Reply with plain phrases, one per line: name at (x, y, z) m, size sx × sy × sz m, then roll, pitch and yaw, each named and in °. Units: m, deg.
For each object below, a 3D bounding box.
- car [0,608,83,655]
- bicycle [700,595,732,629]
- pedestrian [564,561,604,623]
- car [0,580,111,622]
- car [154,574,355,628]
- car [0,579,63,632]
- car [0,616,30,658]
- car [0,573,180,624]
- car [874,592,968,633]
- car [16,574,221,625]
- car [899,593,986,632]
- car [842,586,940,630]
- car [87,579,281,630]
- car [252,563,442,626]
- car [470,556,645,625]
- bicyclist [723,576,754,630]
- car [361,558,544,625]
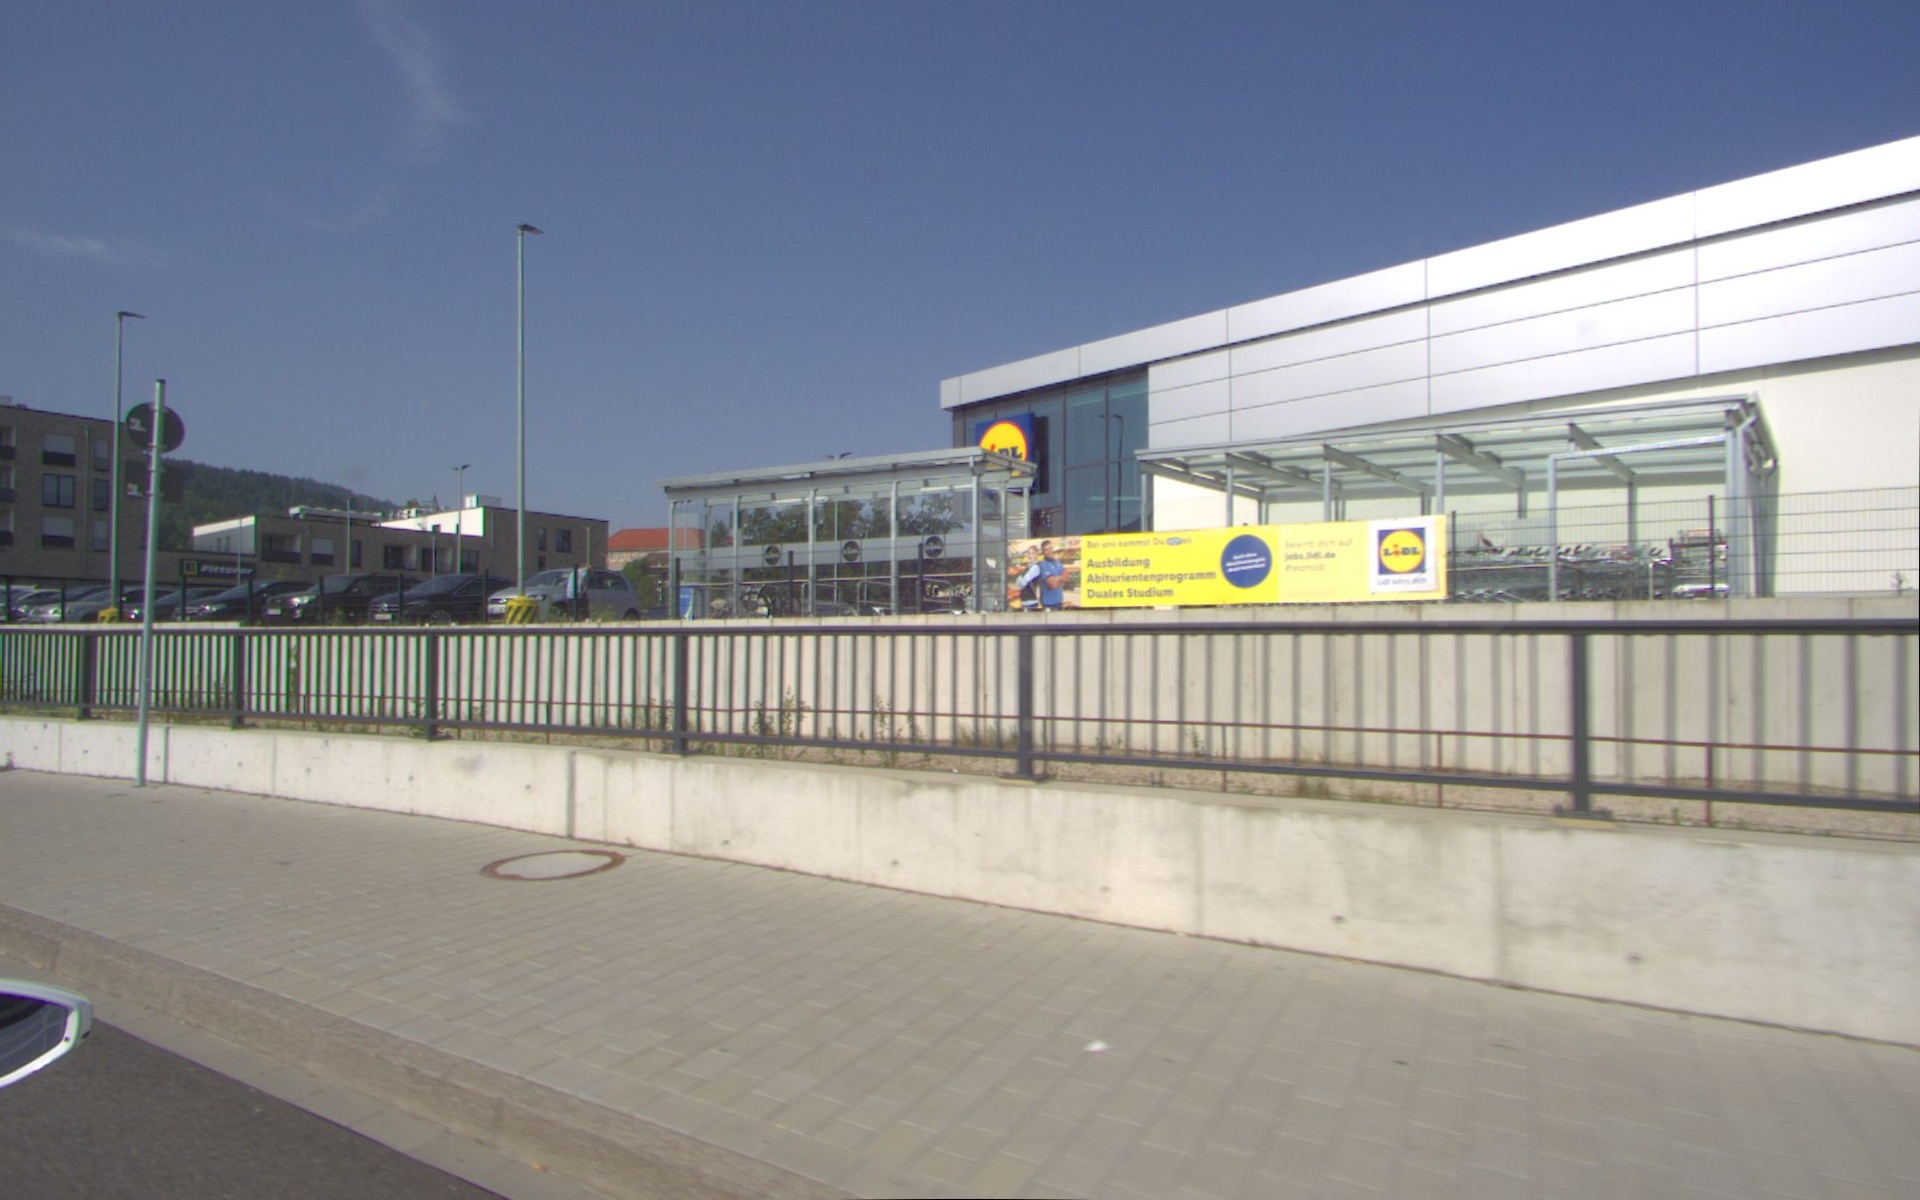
car at (-31.732, 1.043, 32.890) m, size 1.688 × 1.505 × 4.060 m, roll 0°, pitch -3°, yaw 24°
bicycle at (-6.728, 0.345, 27.631) m, size 0.666 × 0.911 × 0.534 m, roll -1°, pitch -2°, yaw 16°
pedestrian at (-8.403, -0.169, 22.381) m, size 0.646 × 1.328 × 0.547 m, roll -1°, pitch -2°, yaw 24°
car at (-29.367, 0.051, 31.579) m, size 1.685 × 1.214 × 3.561 m, roll 0°, pitch -3°, yaw 22°
car at (-18.982, 0.075, 27.172) m, size 1.714 × 1.261 × 4.220 m, roll 0°, pitch -3°, yaw 21°
car at (-40.711, 0.250, 42.343) m, size 1.979 × 2.163 × 3.966 m, roll -2°, pitch -3°, yaw 42°
car at (-34.152, 1.220, 33.858) m, size 1.681 × 1.448 × 3.561 m, roll 0°, pitch -3°, yaw 22°
car at (-26.513, 0.001, 30.520) m, size 1.632 × 1.359 × 4.042 m, roll 0°, pitch -3°, yaw 22°
car at (-1.667, 0.561, 42.792) m, size 3.646 × 1.605 × 1.619 m, roll -2°, pitch -2°, yaw 24°
car at (-24.281, 0.032, 29.102) m, size 1.635 × 1.261 × 4.285 m, roll 0°, pitch -3°, yaw 21°
car at (-0.774, 0.603, 45.056) m, size 3.568 × 1.651 × 1.598 m, roll -2°, pitch -2°, yaw 24°
car at (-2.799, 0.352, 40.491) m, size 3.646 × 1.673 × 1.619 m, roll -2°, pitch -2°, yaw 24°
car at (-21.478, 0.172, 27.913) m, size 1.700 × 1.261 × 3.973 m, roll 0°, pitch -3°, yaw 21°
car at (-15.843, -0.089, 26.111) m, size 1.695 × 1.422 × 4.011 m, roll 0°, pitch -3°, yaw 21°
car at (-9.283, -0.151, 23.425) m, size 1.652 × 1.381 × 3.811 m, roll 0°, pitch -3°, yaw 21°
bicyclist at (-6.067, 0.096, 27.433) m, size 0.711 × 1.441 × 0.431 m, roll -1°, pitch -1°, yaw 16°
car at (-12.330, -0.145, 24.627) m, size 1.460 × 1.422 × 4.068 m, roll 0°, pitch -3°, yaw 21°
